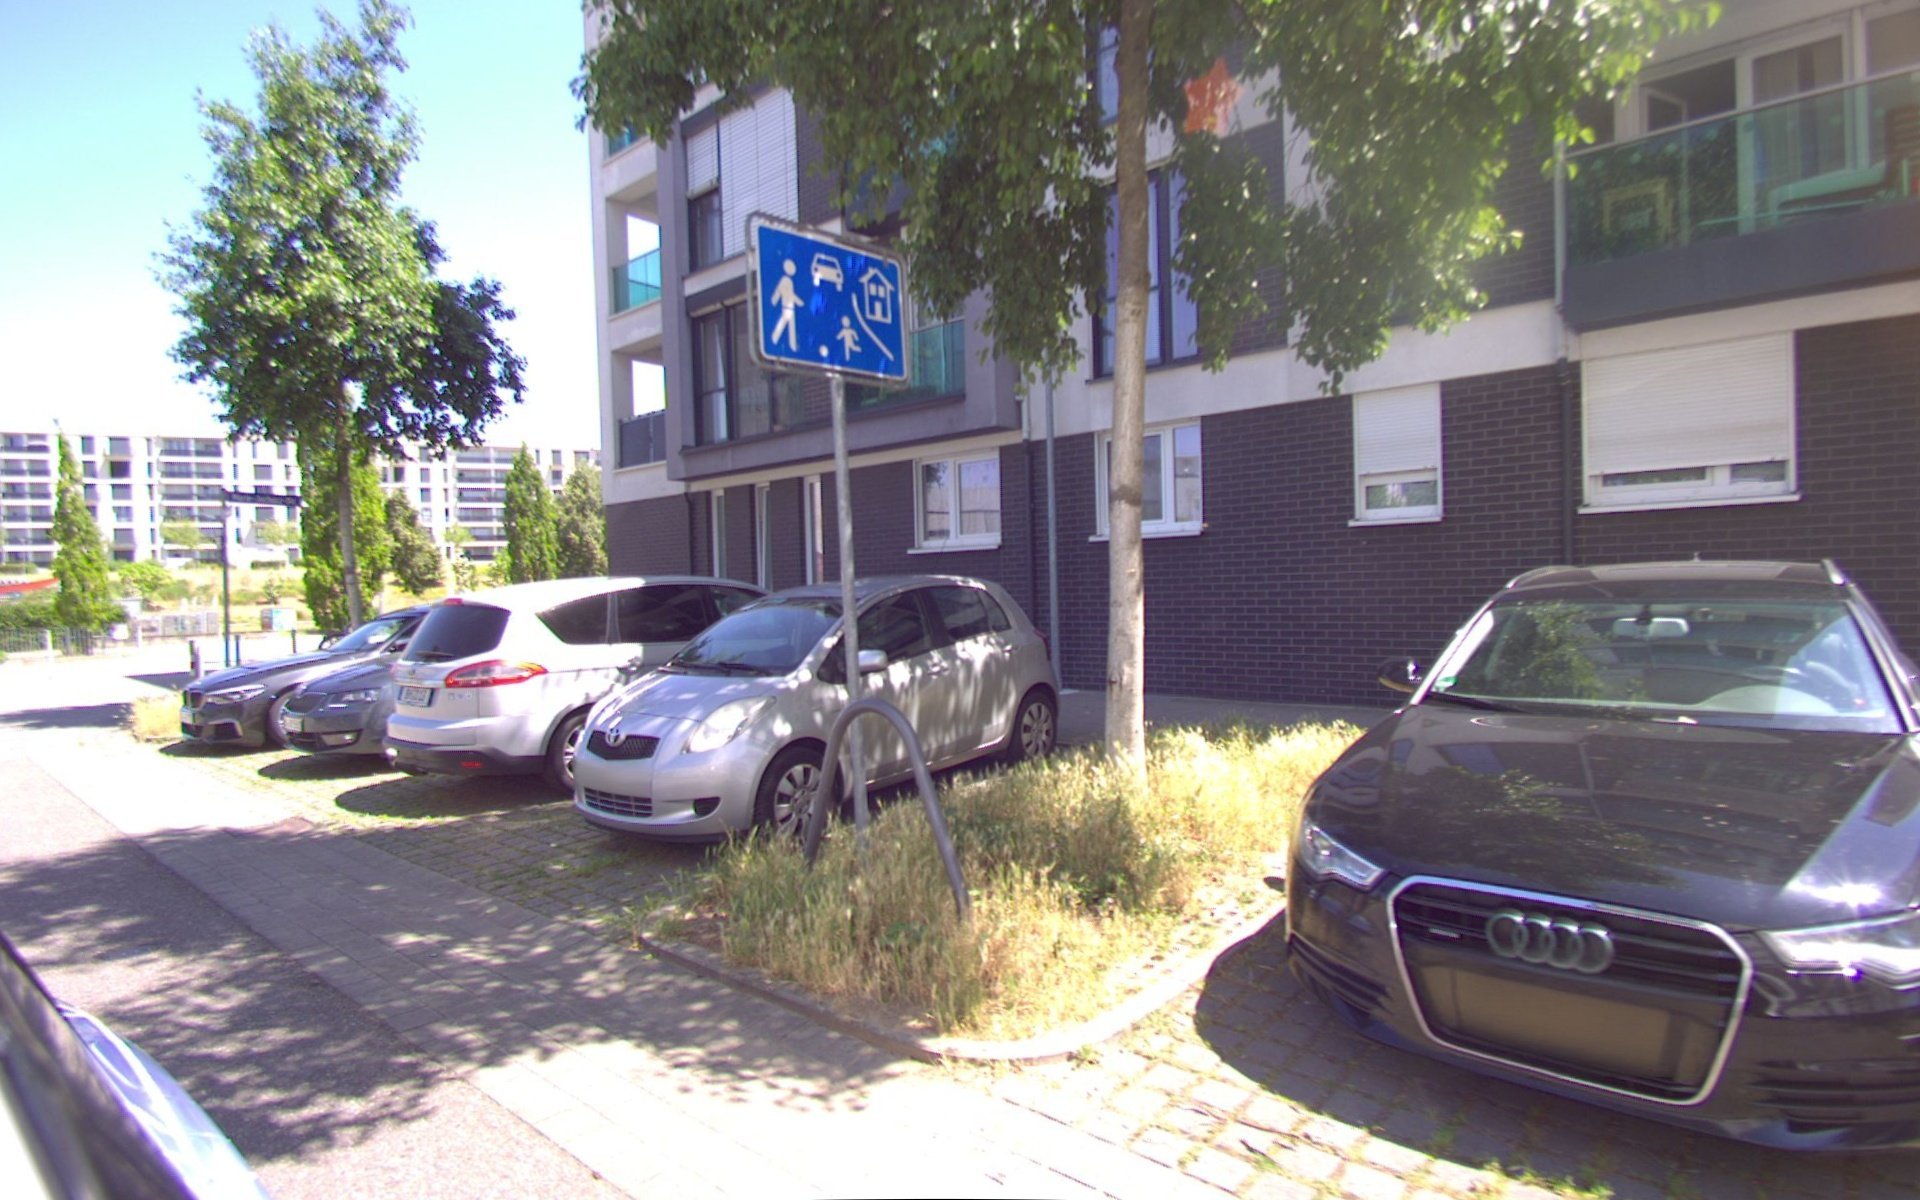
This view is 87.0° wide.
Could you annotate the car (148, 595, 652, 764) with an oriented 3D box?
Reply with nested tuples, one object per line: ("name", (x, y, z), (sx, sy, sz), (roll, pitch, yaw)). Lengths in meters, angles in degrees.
("car", (-6.532, 0.769, 12.414), (1.926, 1.496, 5.049), (-1, 2, 39))

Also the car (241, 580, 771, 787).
("car", (-4.483, 0.658, 10.745), (1.826, 1.460, 4.772), (-1, 3, 39))

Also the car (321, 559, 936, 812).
("car", (-2.623, 0.505, 9.206), (2.040, 1.644, 4.979), (-2, 1, 39))

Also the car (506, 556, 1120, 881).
("car", (-0.722, 0.539, 7.250), (1.820, 1.542, 4.211), (-2, 2, 38))

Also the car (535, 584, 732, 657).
("car", (-7.869, 0.465, 24.770), (1.776, 1.531, 4.344), (-4, -1, 36))

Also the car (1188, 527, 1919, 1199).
("car", (2.981, 0.485, 4.223), (1.829, 1.467, 4.800), (-1, 2, 42))

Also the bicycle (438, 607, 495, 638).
("bicycle", (-20.015, 0.901, 41.060), (1.885, 1.126, 0.800), (-3, 1, -40))

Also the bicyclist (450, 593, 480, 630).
("bicyclist", (-20.076, 0.473, 41.042), (0.869, 1.466, 0.861), (-3, 1, -40))
